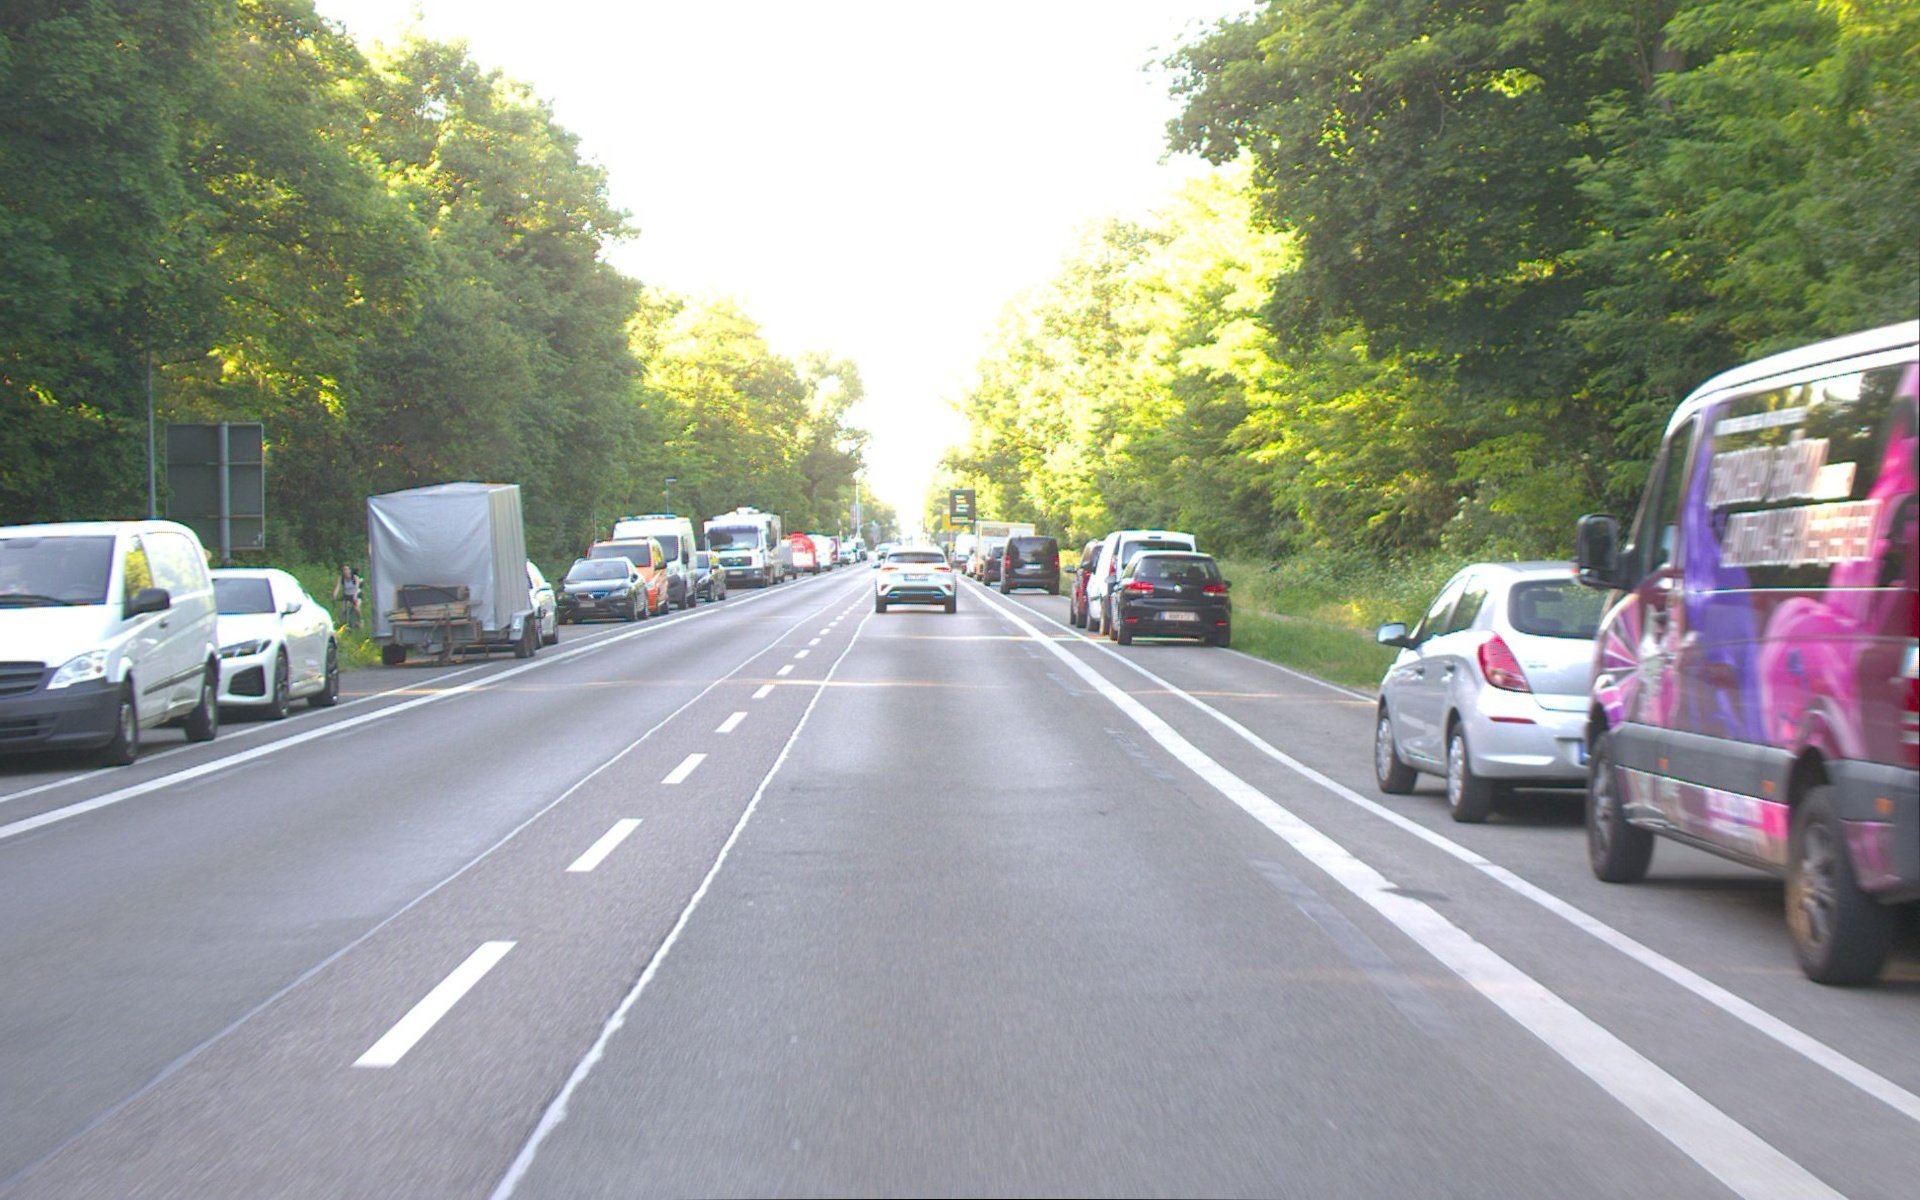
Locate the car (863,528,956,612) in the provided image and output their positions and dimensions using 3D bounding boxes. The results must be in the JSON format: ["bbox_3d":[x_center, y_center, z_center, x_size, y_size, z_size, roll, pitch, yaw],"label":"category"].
[{"bbox_3d":[-1.121,-0.710,78.010,2.028,1.834,4.029,-1,1,0],"label":"car"}]

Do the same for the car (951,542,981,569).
[{"bbox_3d":[0.323,-2.514,194.767,1.656,1.473,3.754,0,1,-1],"label":"car"}]

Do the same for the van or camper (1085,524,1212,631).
[{"bbox_3d":[3.272,-0.425,60.367,1.951,1.809,4.381,0,1,0],"label":"van or camper"}]

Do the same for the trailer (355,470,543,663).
[{"bbox_3d":[-7.358,-0.499,49.907,1.993,2.588,4.416,-3,1,0],"label":"trailer"}]

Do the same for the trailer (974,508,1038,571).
[{"bbox_3d":[2.108,-2.789,158.626,2.757,2.860,6.589,0,1,-1],"label":"trailer"}]

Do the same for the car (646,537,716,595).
[{"bbox_3d":[-8.631,-1.062,106.547,1.781,1.678,4.378,-2,1,0],"label":"car"}]

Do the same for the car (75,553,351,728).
[{"bbox_3d":[-7.327,0.344,34.146,1.774,1.535,4.525,-2,1,-1],"label":"car"}]

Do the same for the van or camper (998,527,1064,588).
[{"bbox_3d":[2.329,-1.410,113.651,1.993,1.925,5.199,1,1,-1],"label":"van or camper"}]

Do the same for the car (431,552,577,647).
[{"bbox_3d":[-7.521,-0.042,57.085,1.797,1.448,4.625,-2,1,0],"label":"car"}]

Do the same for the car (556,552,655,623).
[{"bbox_3d":[-7.882,-0.300,76.737,1.731,1.473,4.324,-2,1,0],"label":"car"}]

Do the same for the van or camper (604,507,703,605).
[{"bbox_3d":[-8.400,-1.212,94.661,2.121,2.563,6.542,-1,1,0],"label":"van or camper"}]

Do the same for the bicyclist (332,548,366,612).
[{"bbox_3d":[-11.899,-0.396,66.937,0.487,1.231,0.974,0,1,0],"label":"bicyclist"}]

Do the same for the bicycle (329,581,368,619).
[{"bbox_3d":[-11.909,0.001,66.977,0.522,0.710,1.487,0,1,0],"label":"bicycle"}]

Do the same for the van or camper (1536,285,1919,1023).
[{"bbox_3d":[3.918,0.087,13.759,2.035,2.304,6.041,-1,1,-1],"label":"van or camper"}]

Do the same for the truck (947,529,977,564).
[{"bbox_3d":[0.105,-3.882,249.776,2.096,2.444,5.680,0,1,-1],"label":"truck"}]

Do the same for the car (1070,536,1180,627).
[{"bbox_3d":[3.114,-0.378,65.692,1.834,1.655,4.338,1,1,0],"label":"car"}]

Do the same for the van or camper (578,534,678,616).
[{"bbox_3d":[-8.027,-0.637,83.474,1.923,1.860,4.863,-2,1,0],"label":"van or camper"}]

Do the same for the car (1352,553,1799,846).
[{"bbox_3d":[3.585,0.520,20.737,1.747,1.510,4.001,3,1,-3],"label":"car"}]

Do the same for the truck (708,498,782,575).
[{"bbox_3d":[-9.613,-2.832,154.653,2.707,3.336,10.924,0,1,0],"label":"truck"}]

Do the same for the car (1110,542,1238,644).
[{"bbox_3d":[3.320,-0.139,53.985,1.690,1.519,4.150,1,1,0],"label":"car"}]

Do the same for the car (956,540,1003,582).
[{"bbox_3d":[0.757,-1.565,137.004,1.841,1.656,4.000,0,1,0],"label":"car"}]

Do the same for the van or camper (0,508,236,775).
[{"bbox_3d":[-7.144,0.278,27.240,1.835,1.905,4.856,-2,1,-1],"label":"van or camper"}]

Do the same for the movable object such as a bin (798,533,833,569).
[{"bbox_3d":[-10.025,-3.413,238.993,2.322,2.493,4.000,0,1,-1],"label":"movable object such as a bin"}]

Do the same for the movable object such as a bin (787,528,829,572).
[{"bbox_3d":[-8.940,-2.942,201.961,2.322,2.493,4.000,0,1,-1],"label":"movable object such as a bin"}]

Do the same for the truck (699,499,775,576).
[{"bbox_3d":[-9.218,-2.590,142.942,2.707,3.083,7.989,0,1,0],"label":"truck"}]

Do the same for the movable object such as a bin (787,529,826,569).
[{"bbox_3d":[-9.663,-3.202,216.670,2.322,2.493,4.000,0,1,-1],"label":"movable object such as a bin"}]
